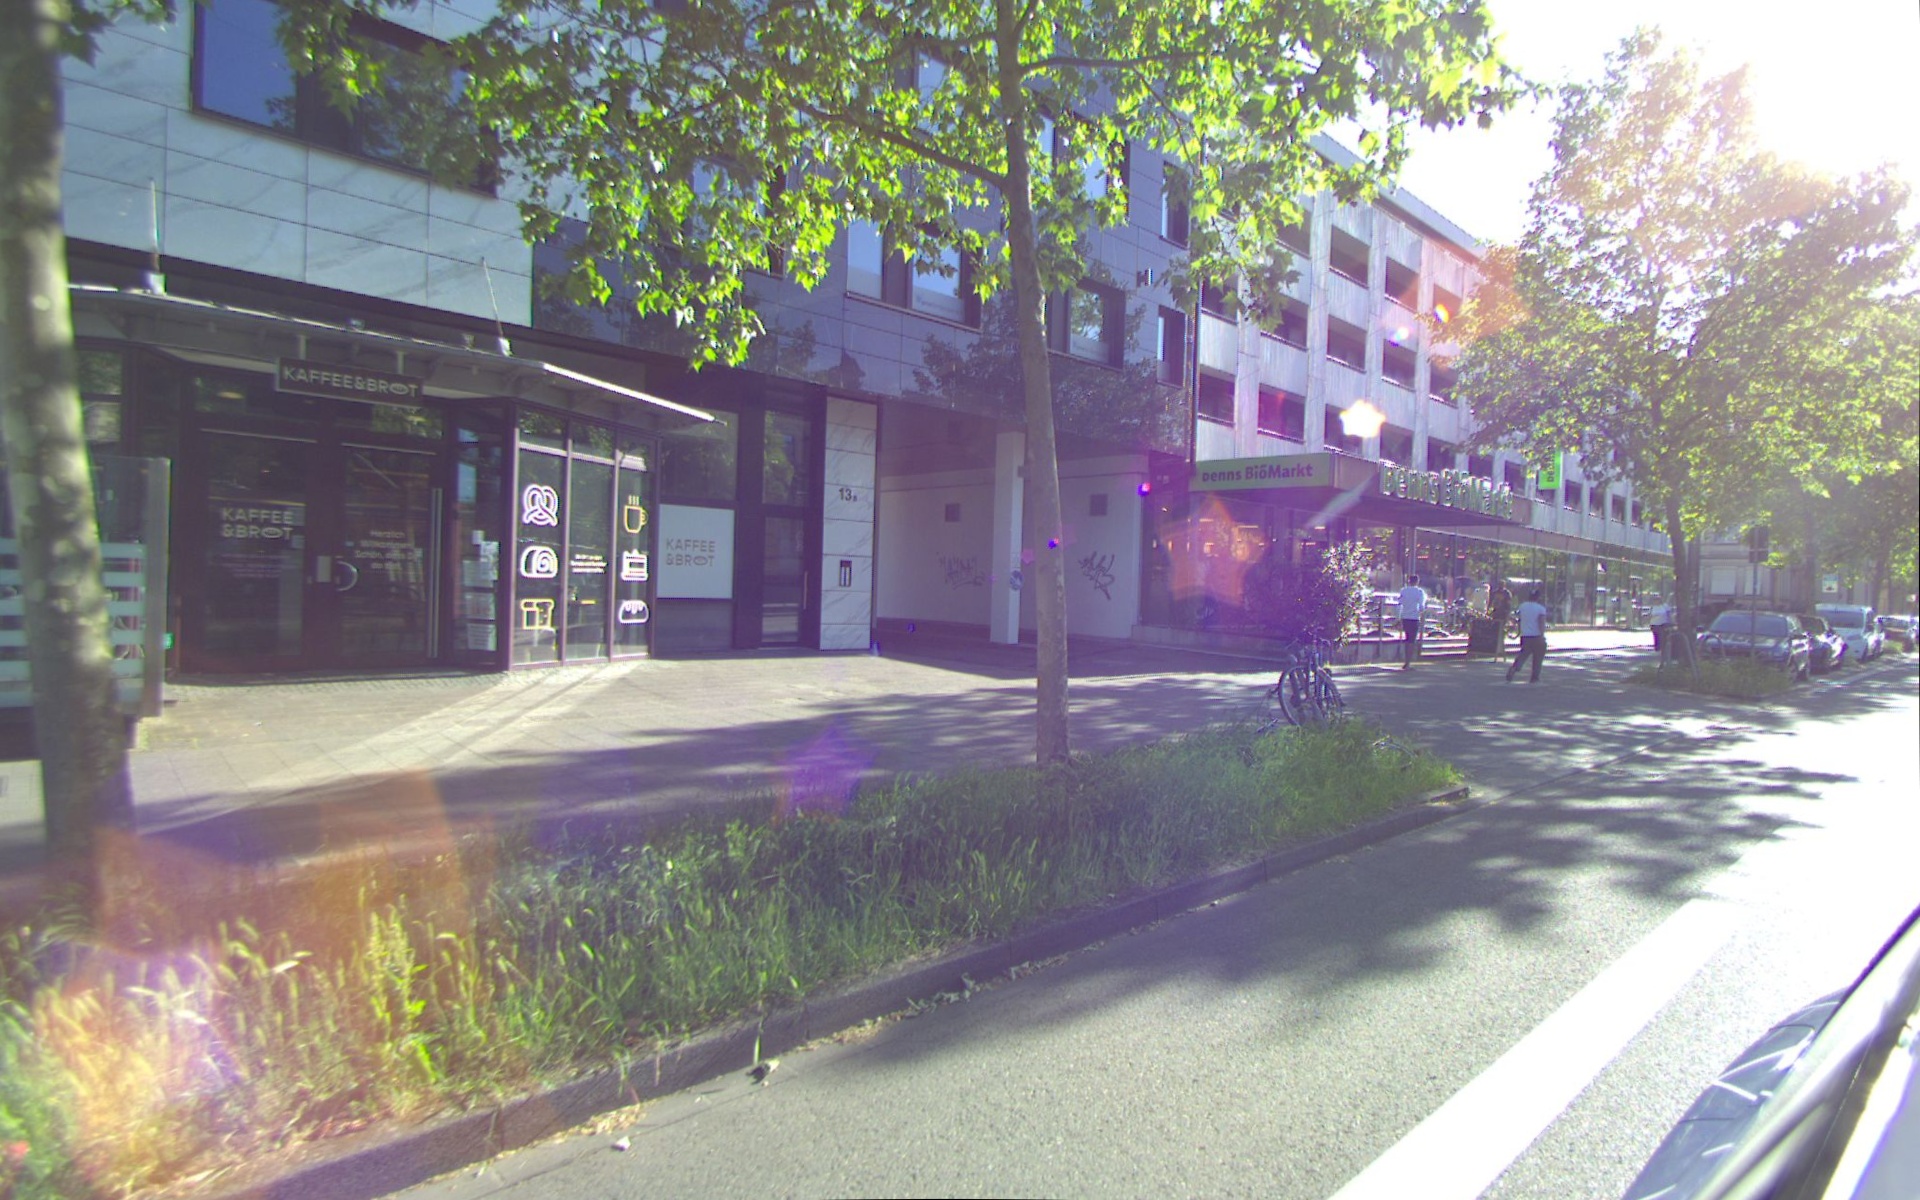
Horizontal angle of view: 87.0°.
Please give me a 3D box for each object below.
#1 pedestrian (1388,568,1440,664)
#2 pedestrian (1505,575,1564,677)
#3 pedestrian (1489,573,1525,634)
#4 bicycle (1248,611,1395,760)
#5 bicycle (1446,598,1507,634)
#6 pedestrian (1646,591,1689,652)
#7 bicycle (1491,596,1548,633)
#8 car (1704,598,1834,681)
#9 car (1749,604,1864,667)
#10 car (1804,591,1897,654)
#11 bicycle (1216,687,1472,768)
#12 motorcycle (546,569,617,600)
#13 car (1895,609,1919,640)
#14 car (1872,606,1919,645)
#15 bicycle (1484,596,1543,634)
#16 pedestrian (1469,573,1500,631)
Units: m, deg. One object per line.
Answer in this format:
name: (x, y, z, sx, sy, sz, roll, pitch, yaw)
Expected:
pedestrian: (8.680, 0.296, 19.338, 0.864, 1.766, 0.561, 1, 1, -43)
pedestrian: (10.173, 0.447, 17.908, 1.034, 1.725, 0.561, 1, 1, -43)
pedestrian: (15.764, 0.086, 29.179, 0.867, 1.698, 0.558, 1, 3, -43)
bicycle: (3.303, 0.703, 9.139, 0.785, 1.147, 1.823, 2, 1, 34)
bicycle: (15.468, 0.463, 30.335, 0.573, 0.927, 1.656, 5, 2, -16)
pedestrian: (19.854, 0.600, 28.392, 0.852, 1.632, 0.699, 1, 3, -41)
bicycle: (18.768, 0.473, 33.994, 0.573, 1.068, 1.710, 3, 3, -16)
car: (17.332, 0.776, 21.627, 3.932, 1.570, 1.567, 0, 1, -42)
car: (22.000, 0.858, 26.234, 4.621, 1.436, 1.763, 1, 1, -44)
car: (28.915, 0.705, 32.818, 4.318, 1.814, 1.767, 1, 2, -43)
bicycle: (3.279, 1.053, 8.688, 1.365, 0.357, 1.611, 1, 2, -42)
motorcycle: (-14.570, -0.607, 38.966, 2.509, 1.079, 1.087, 2, 1, 22)
car: (47.630, 1.209, 50.101, 3.864, 1.459, 1.628, 1, 3, -43)
car: (40.108, 1.049, 43.022, 3.629, 1.455, 1.675, 0, 4, -44)
bicycle: (18.146, 0.482, 33.226, 0.573, 1.068, 1.709, 4, 2, -16)
pedestrian: (16.349, 0.059, 31.558, 0.607, 1.735, 0.608, 8, 4, 23)
